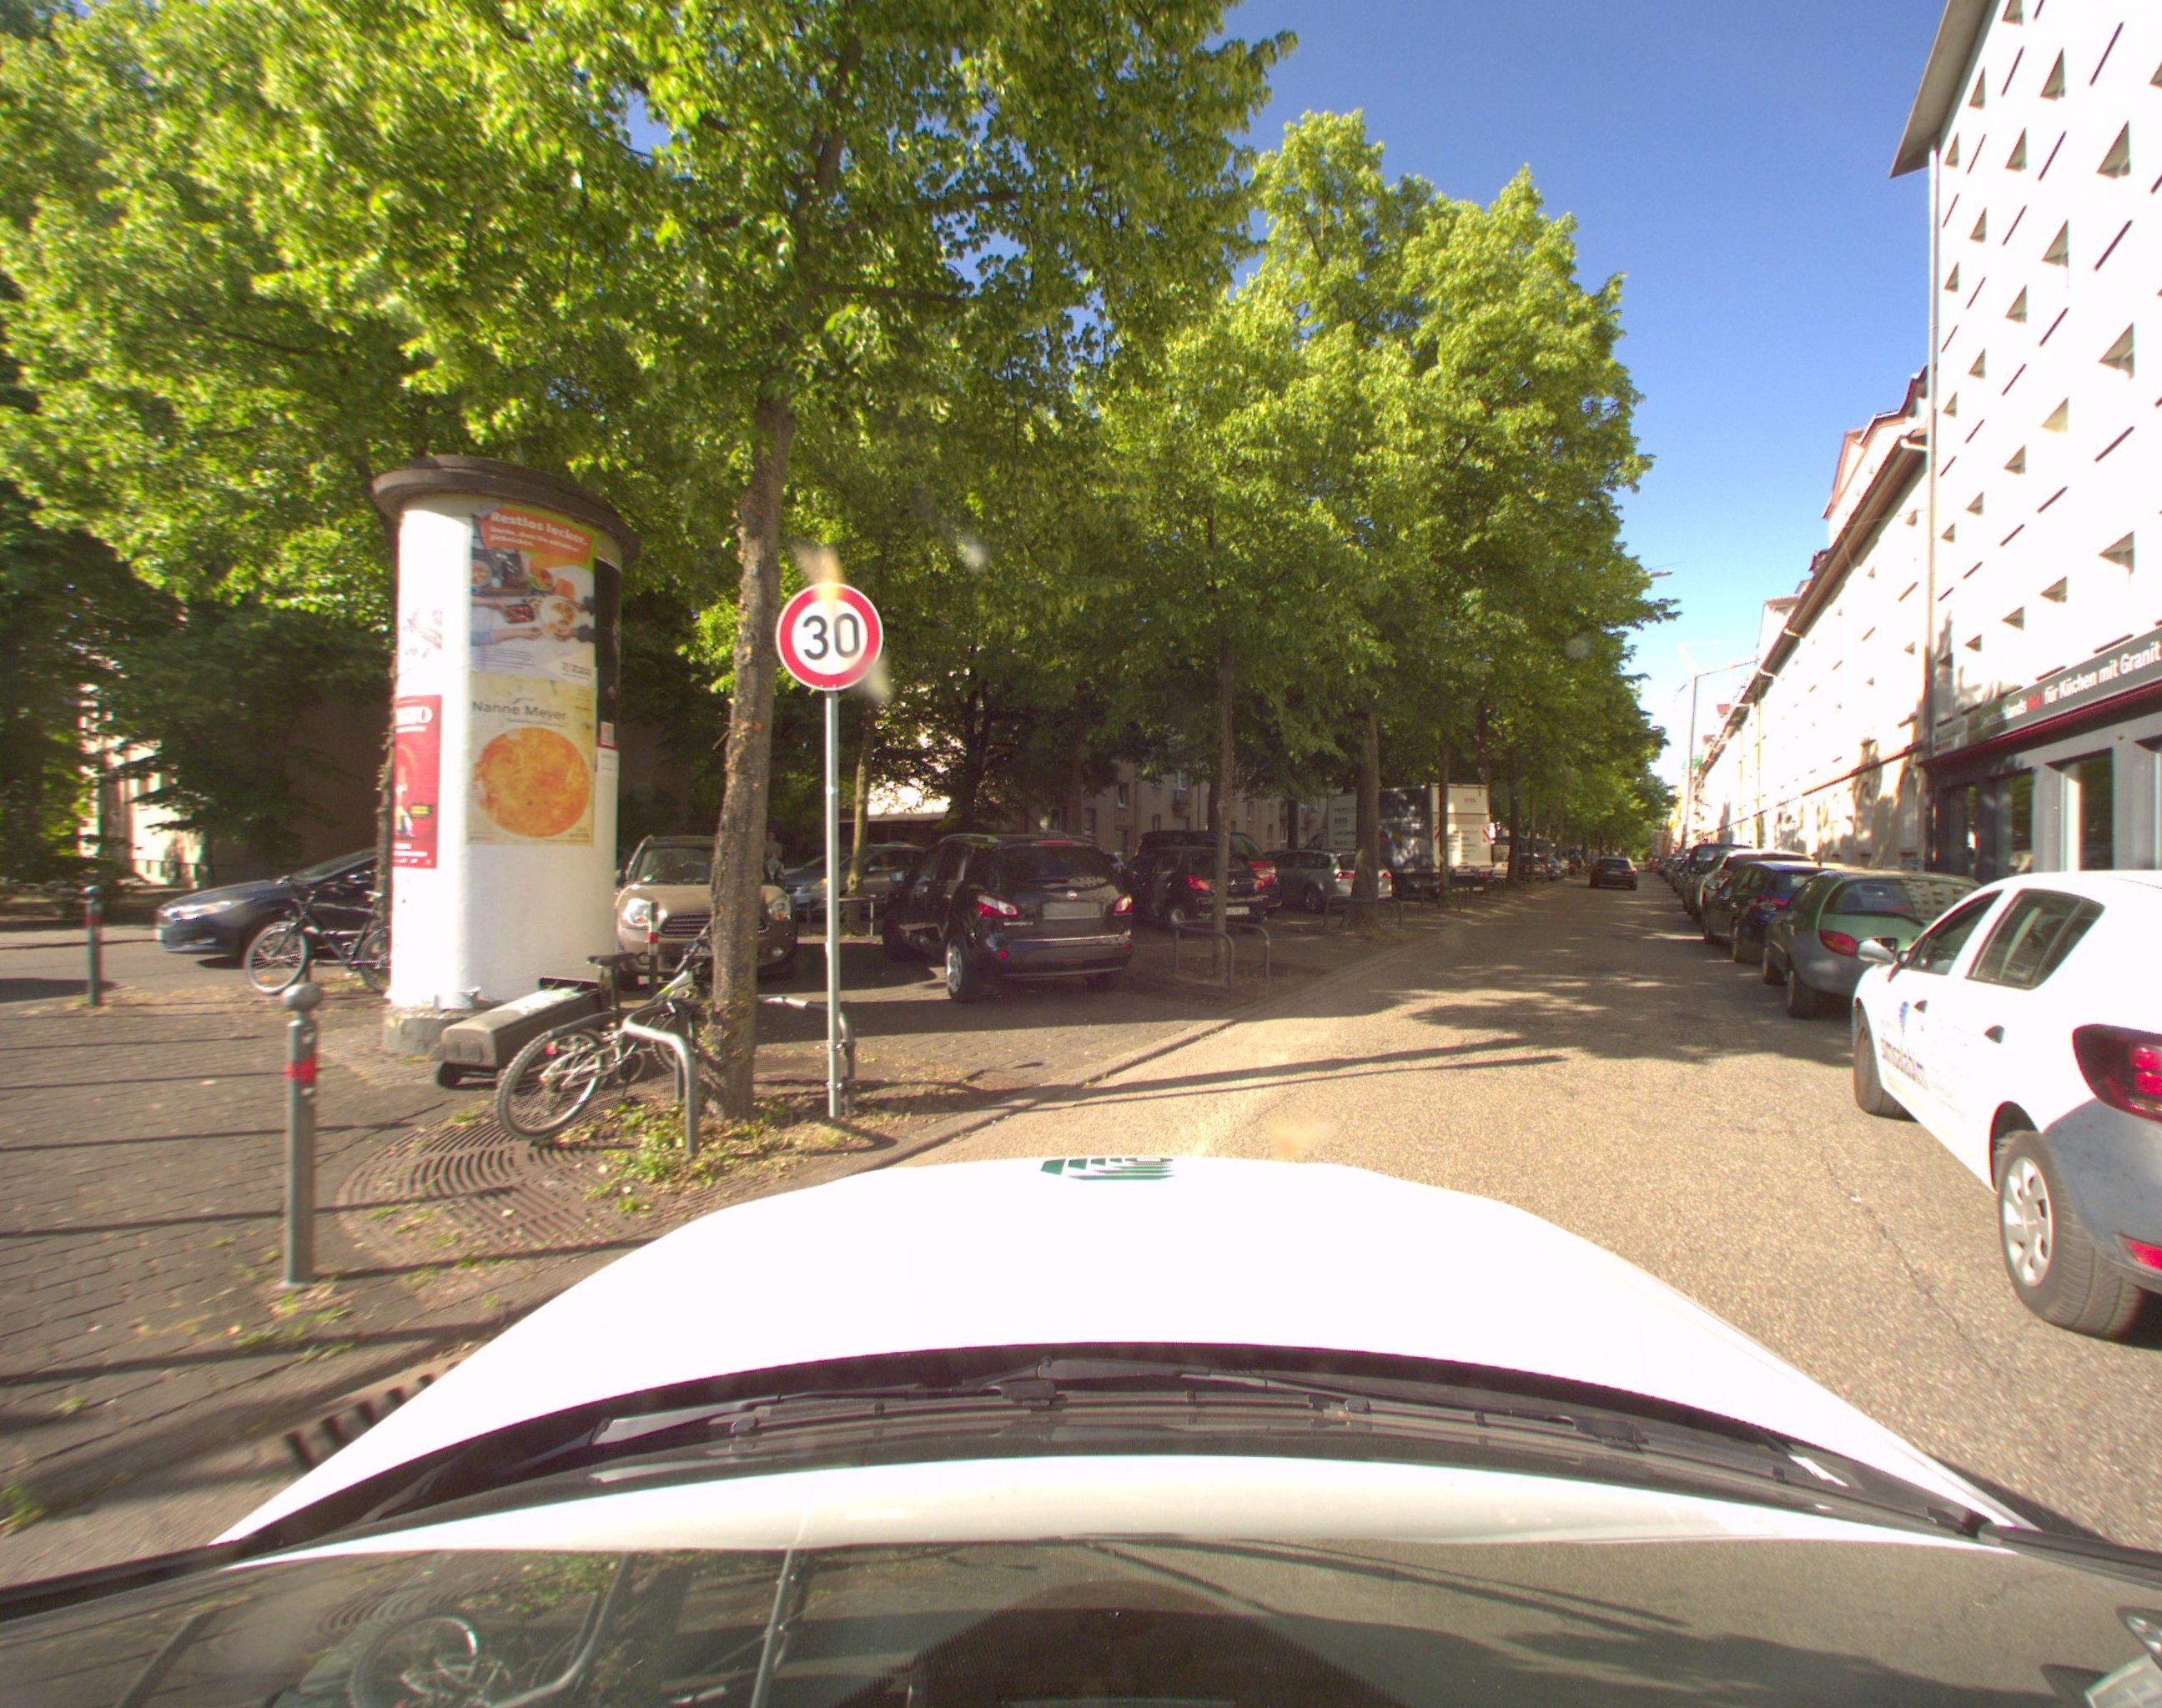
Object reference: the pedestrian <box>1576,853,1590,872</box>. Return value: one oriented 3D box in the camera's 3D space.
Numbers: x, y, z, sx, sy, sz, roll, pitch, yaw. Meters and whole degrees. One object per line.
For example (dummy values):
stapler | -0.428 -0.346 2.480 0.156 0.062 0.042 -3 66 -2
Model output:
pedestrian | 37.645 0.647 61.016 0.598 1.456 0.704 0 0 -32

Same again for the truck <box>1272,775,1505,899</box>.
truck | 9.237 -0.461 25.517 2.550 3.293 7.269 0 0 -23

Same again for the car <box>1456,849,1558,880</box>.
car | 21.301 0.484 40.921 1.789 1.455 4.456 0 0 -23

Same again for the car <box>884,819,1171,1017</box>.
car | -0.893 0.470 9.298 1.840 1.671 4.302 0 2 -25

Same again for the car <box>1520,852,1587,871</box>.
car | 36.814 0.559 63.531 1.679 1.424 4.291 0 0 -28

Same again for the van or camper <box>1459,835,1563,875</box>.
van or camper | 33.326 0.037 63.464 2.319 2.929 7.185 0 0 -27

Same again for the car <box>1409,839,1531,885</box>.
car | 17.136 0.305 36.102 2.087 1.864 4.481 1 1 -29

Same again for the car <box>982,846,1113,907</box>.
car | -0.797 0.537 21.991 1.737 1.486 3.973 1 1 29

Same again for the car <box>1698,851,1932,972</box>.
car | 10.777 0.696 12.335 1.785 1.463 4.468 1 0 31

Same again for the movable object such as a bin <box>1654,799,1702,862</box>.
movable object such as a bin | 65.556 -2.524 89.412 2.370 6.759 3.464 1 0 -22

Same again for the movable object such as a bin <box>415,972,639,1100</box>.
movable object such as a bin | -3.605 1.161 5.399 0.571 0.565 1.118 0 0 15

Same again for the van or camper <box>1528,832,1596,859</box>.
van or camper | 49.324 -0.824 83.634 2.259 2.637 5.838 0 0 -25

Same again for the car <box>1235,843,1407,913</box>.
car | 5.692 0.504 19.947 1.814 1.507 4.314 0 1 -21

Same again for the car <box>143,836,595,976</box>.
car | -9.386 0.548 11.122 1.884 1.518 4.328 1 0 35

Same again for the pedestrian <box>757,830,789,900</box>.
pedestrian | -7.814 0.271 20.669 0.743 1.735 0.536 0 0 -22

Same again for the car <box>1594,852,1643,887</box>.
car | 24.428 0.654 37.018 1.779 1.503 3.608 0 0 34

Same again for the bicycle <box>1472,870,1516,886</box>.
bicycle | 15.639 0.906 30.902 0.410 0.558 1.602 0 0 -23

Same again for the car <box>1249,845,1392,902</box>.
car | 6.882 0.488 23.945 1.814 1.507 4.314 0 1 -21

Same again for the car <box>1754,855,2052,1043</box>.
car | 8.148 0.759 8.429 1.581 1.463 3.696 1 0 36

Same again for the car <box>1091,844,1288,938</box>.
car | 1.825 0.560 14.885 1.765 1.481 3.791 0 0 -26

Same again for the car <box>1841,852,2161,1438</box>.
car | 4.575 0.754 3.297 1.702 1.497 4.048 0 0 36

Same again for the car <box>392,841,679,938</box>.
car | -9.755 0.539 14.854 1.737 1.511 3.974 1 1 35

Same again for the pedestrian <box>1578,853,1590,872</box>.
pedestrian | 38.075 0.654 61.600 0.521 1.456 0.610 0 0 -32

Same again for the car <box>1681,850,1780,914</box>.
car | 17.115 0.654 21.633 1.745 1.500 4.265 1 0 34

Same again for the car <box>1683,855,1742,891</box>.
car | 26.543 0.749 34.345 1.534 1.394 3.885 1 0 31

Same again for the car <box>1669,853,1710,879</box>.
car | 36.938 0.694 49.491 1.706 1.528 4.184 1 0 33

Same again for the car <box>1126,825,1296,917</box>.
car | 2.831 0.324 18.892 1.936 1.873 4.472 0 0 -21

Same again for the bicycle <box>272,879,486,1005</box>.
bicycle | -6.868 0.806 8.068 0.349 1.072 1.602 0 0 25

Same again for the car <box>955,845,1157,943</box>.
car | -0.583 0.567 14.019 1.827 1.422 3.911 0 1 -30

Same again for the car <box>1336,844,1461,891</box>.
car | 11.066 0.415 28.688 1.850 1.502 3.970 1 1 -23

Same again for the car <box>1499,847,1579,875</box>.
car | 28.539 0.416 50.888 1.762 1.679 4.112 0 0 -26

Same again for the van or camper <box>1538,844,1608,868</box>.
van or camper | 47.964 0.145 79.532 2.227 2.275 5.462 0 0 -31

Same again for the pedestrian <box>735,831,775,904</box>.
pedestrian | -7.895 0.309 19.718 0.733 1.735 0.543 0 0 31

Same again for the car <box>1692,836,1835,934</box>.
car | 13.952 0.538 16.892 1.745 1.753 4.538 1 0 33

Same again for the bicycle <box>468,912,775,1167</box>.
bicycle | -2.478 0.922 4.607 0.349 1.072 1.602 0 0 25

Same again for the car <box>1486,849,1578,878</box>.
car | 25.020 0.503 45.364 1.717 1.461 4.391 1 0 -22

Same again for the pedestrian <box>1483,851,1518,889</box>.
pedestrian | 15.616 0.577 30.339 0.930 1.397 0.747 0 0 -23

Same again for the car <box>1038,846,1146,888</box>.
car | 0.487 0.430 29.729 1.747 1.435 4.371 1 1 35

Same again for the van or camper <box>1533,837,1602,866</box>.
van or camper | 56.594 -0.295 94.828 2.500 3.240 6.621 0 0 -26

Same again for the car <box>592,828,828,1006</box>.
car | -4.525 0.560 9.572 1.930 1.610 3.958 0 0 -34

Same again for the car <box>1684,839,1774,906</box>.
car | 20.247 0.509 25.611 1.930 1.900 4.876 1 0 35

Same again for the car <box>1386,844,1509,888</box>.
car | 13.502 0.408 30.292 1.735 1.506 4.077 1 1 -23

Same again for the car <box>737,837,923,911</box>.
car | -6.072 0.425 20.185 1.737 1.640 4.274 1 1 33

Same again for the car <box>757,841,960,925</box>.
car | -4.389 0.503 16.691 1.737 1.486 3.973 1 1 29
